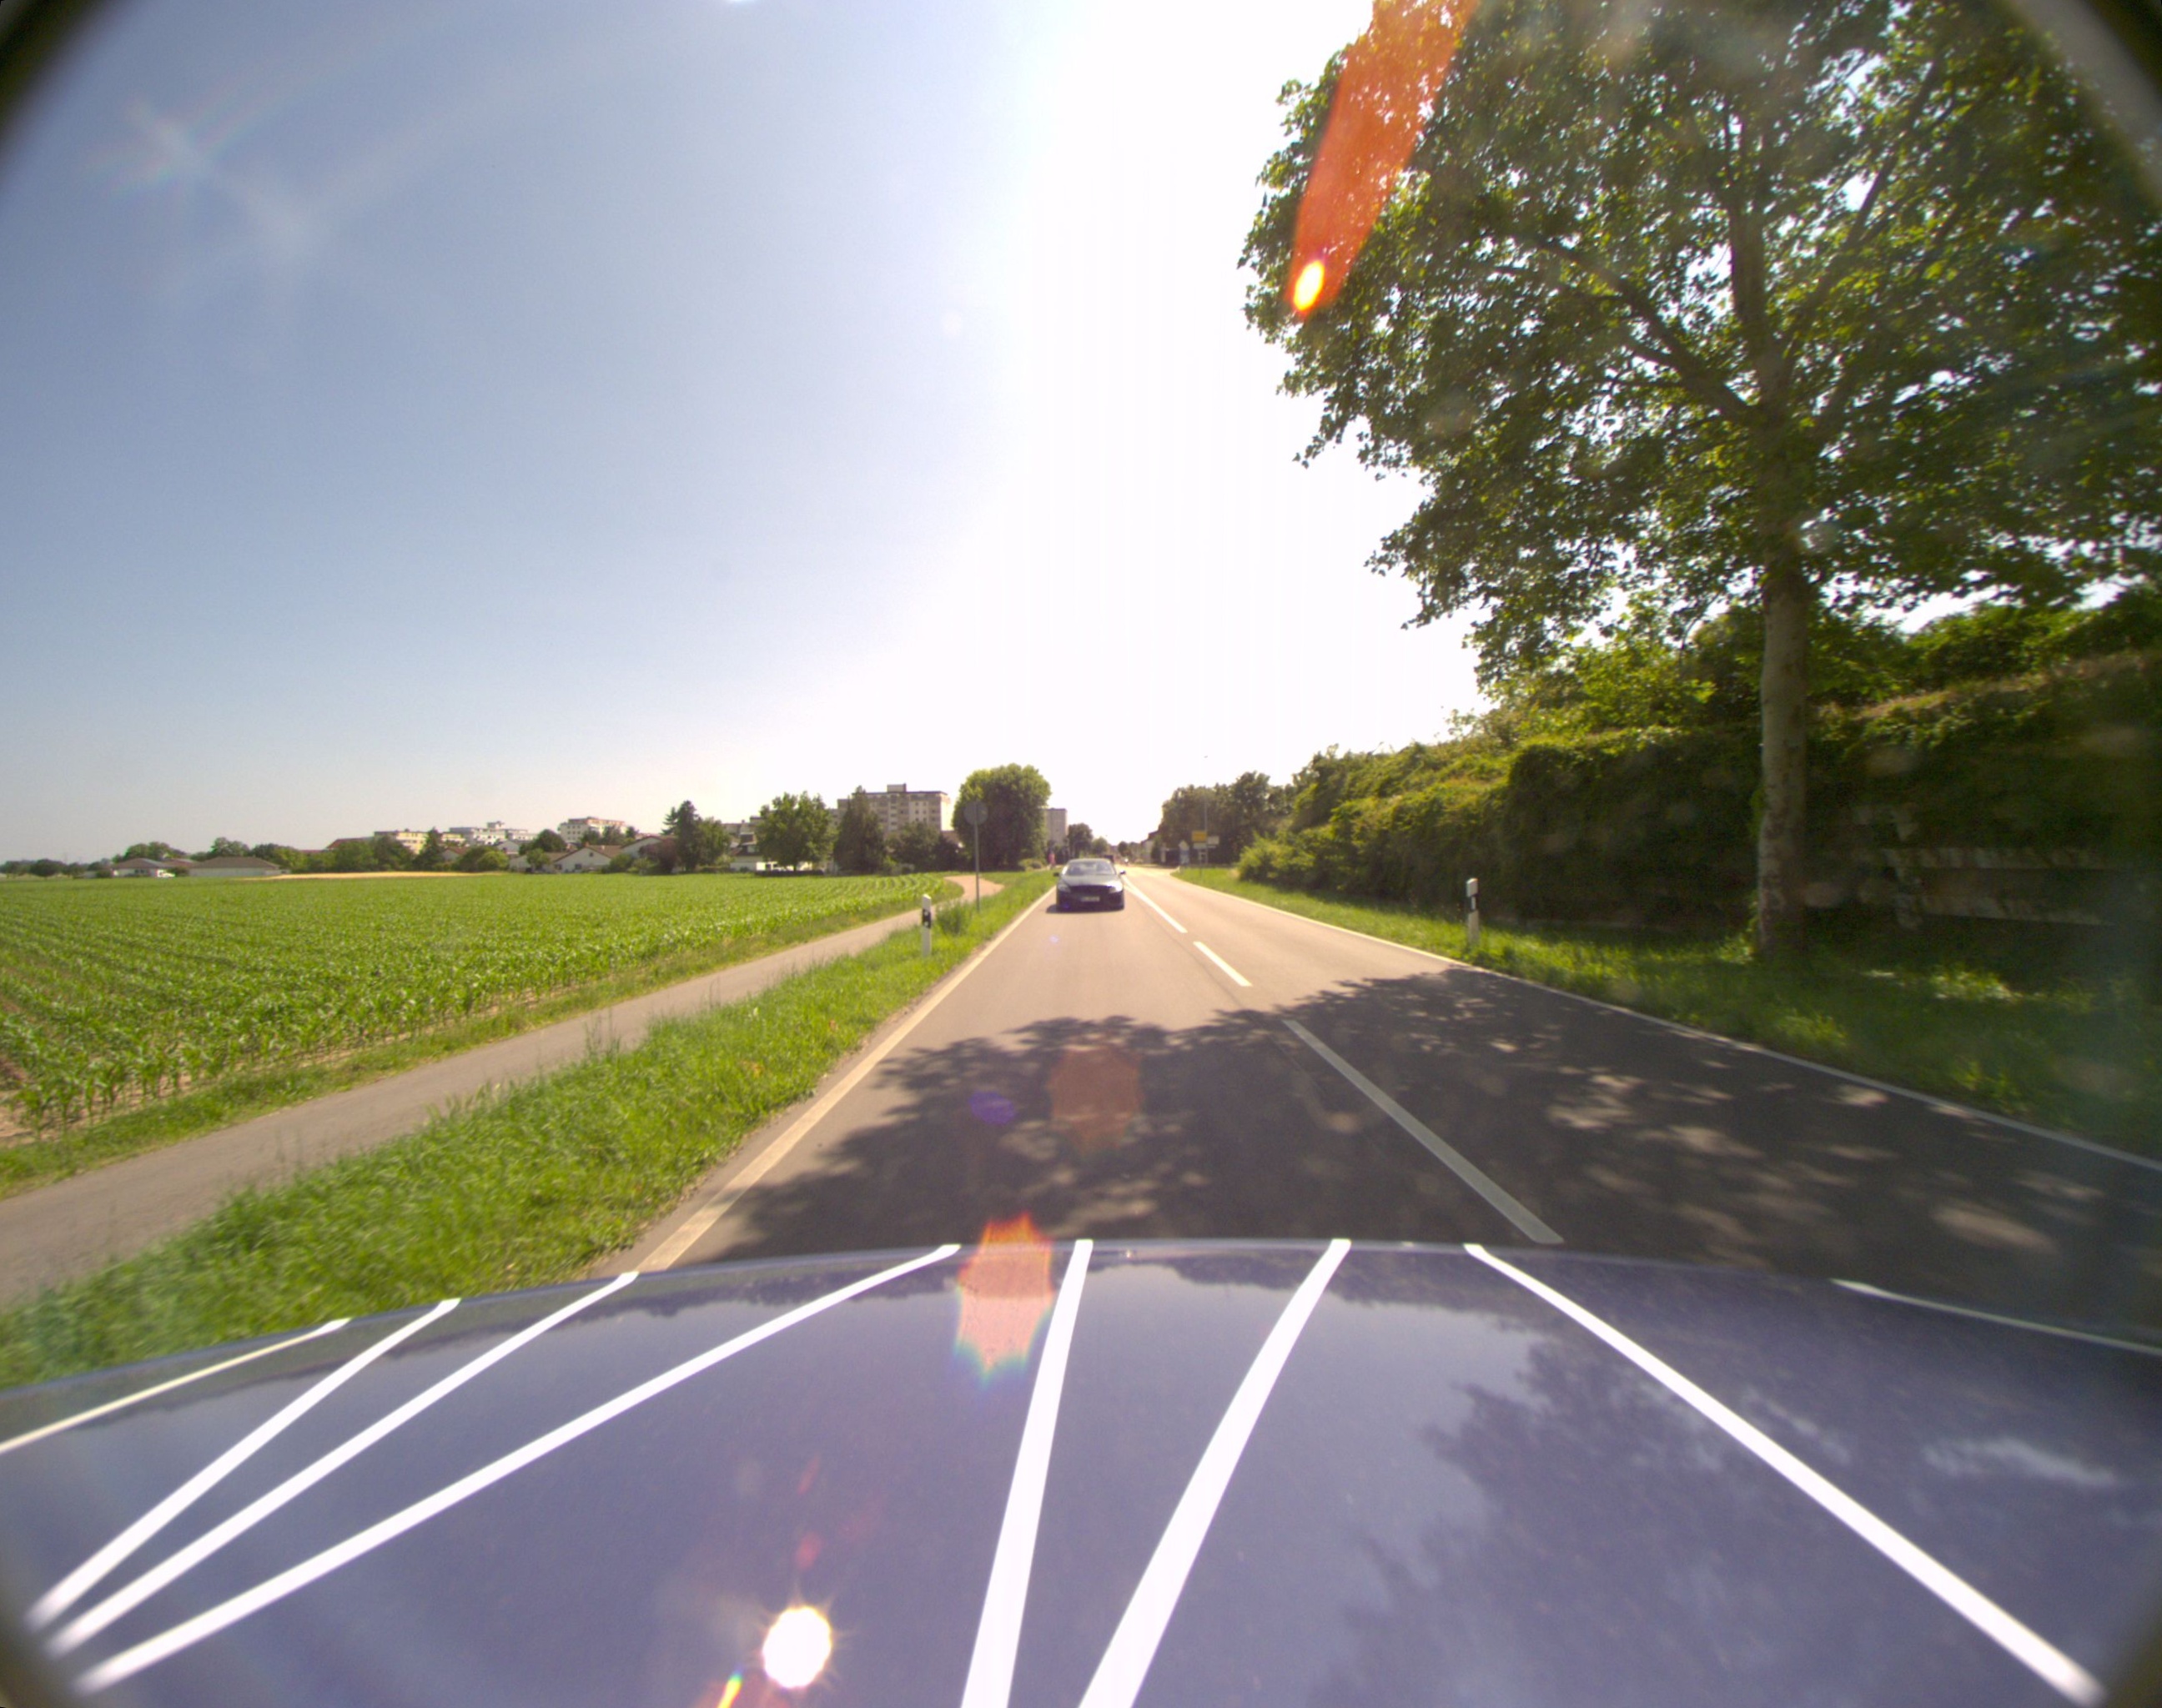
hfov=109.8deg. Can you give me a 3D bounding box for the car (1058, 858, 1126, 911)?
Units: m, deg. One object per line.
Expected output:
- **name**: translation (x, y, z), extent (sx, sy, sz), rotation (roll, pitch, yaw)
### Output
- **car**: translation (0.293, 0.882, 24.072), extent (1.889, 1.429, 4.838), rotation (-2, 0, -1)

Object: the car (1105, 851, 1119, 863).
- **car**: translation (5.172, 0.437, 126.566), extent (2.149, 1.940, 5.247), rotation (0, 0, 1)
